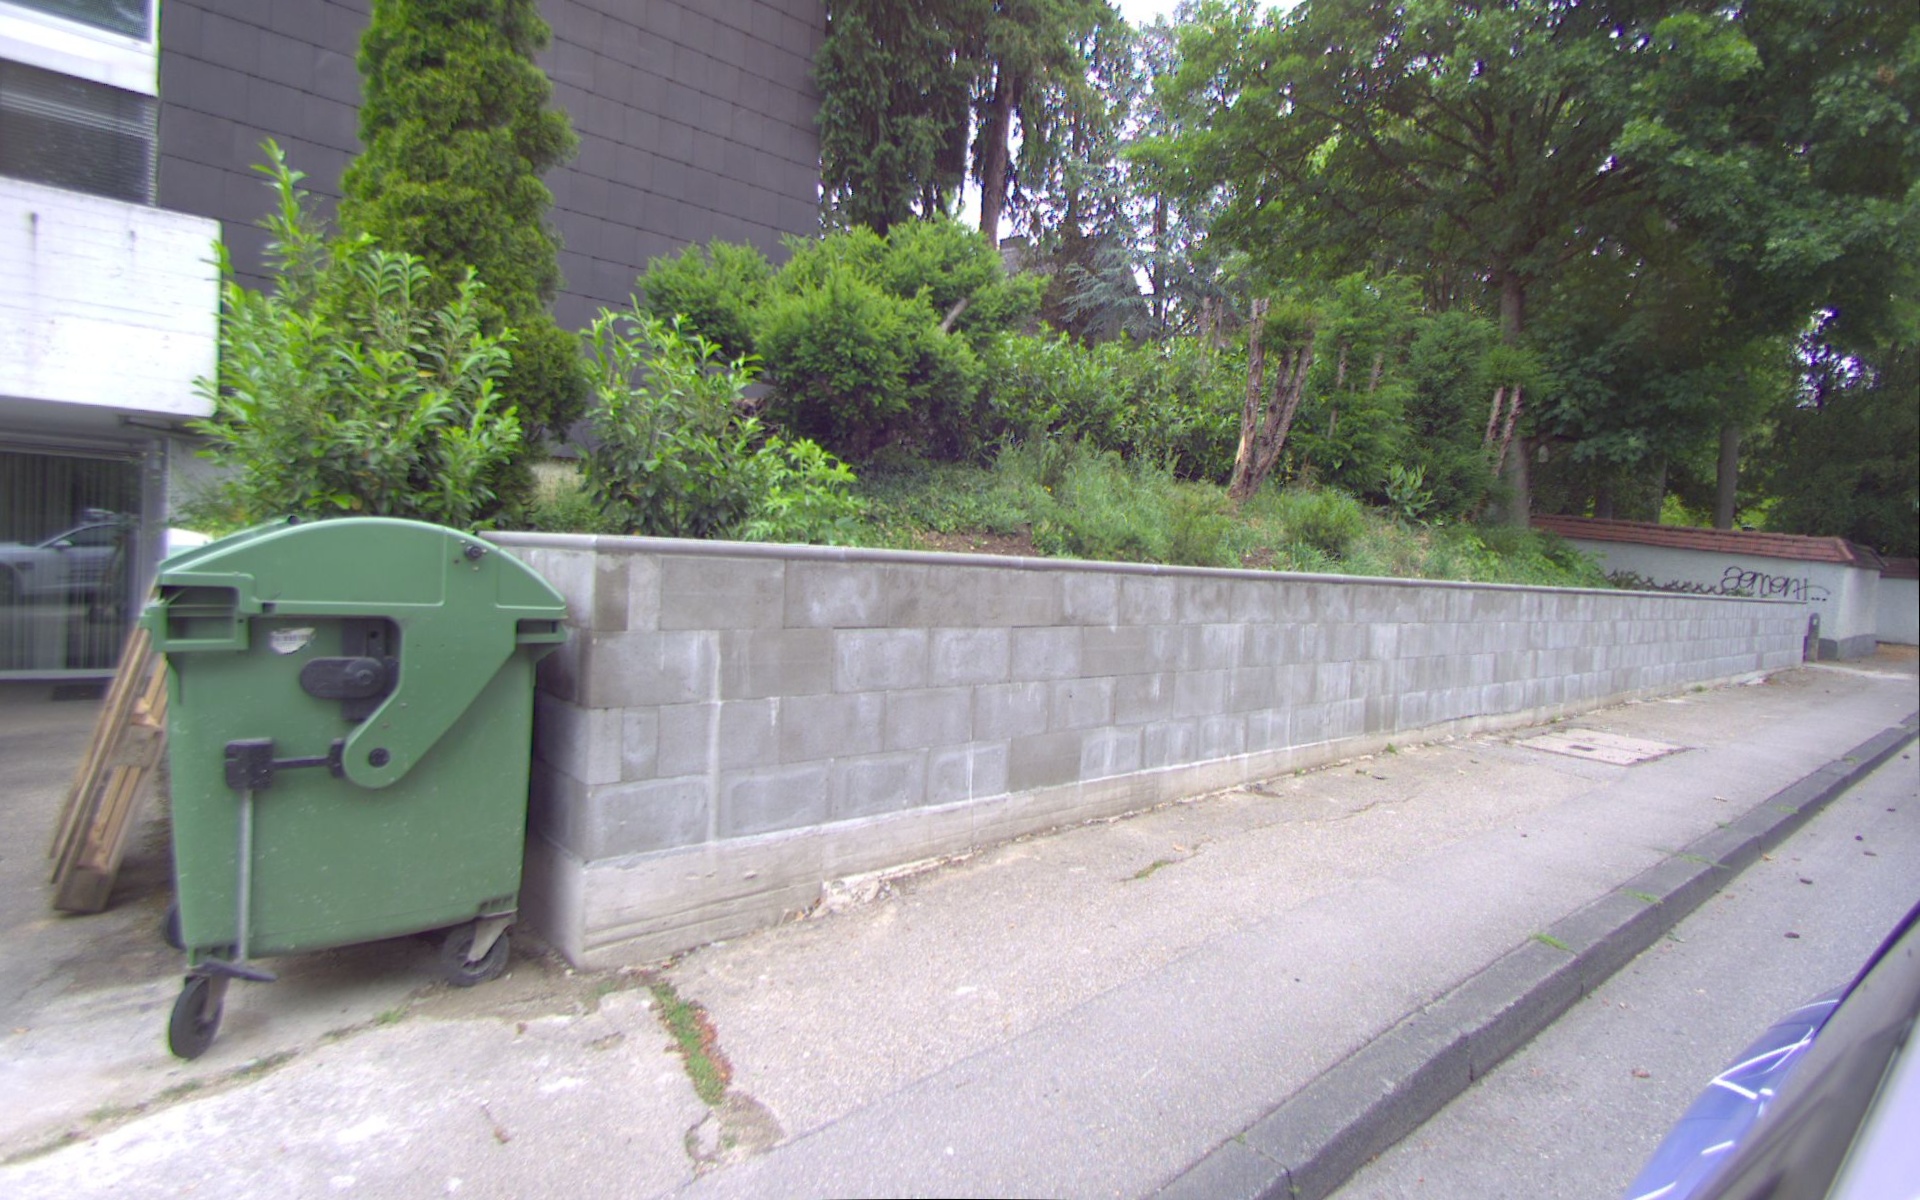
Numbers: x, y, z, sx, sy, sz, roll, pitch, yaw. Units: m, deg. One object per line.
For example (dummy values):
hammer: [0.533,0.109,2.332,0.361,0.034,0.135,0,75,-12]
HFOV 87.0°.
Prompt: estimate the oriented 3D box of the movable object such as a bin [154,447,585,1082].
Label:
movable object such as a bin: [-1.874,0.380,3.183,1.014,1.549,1.037,0,2,-39]
